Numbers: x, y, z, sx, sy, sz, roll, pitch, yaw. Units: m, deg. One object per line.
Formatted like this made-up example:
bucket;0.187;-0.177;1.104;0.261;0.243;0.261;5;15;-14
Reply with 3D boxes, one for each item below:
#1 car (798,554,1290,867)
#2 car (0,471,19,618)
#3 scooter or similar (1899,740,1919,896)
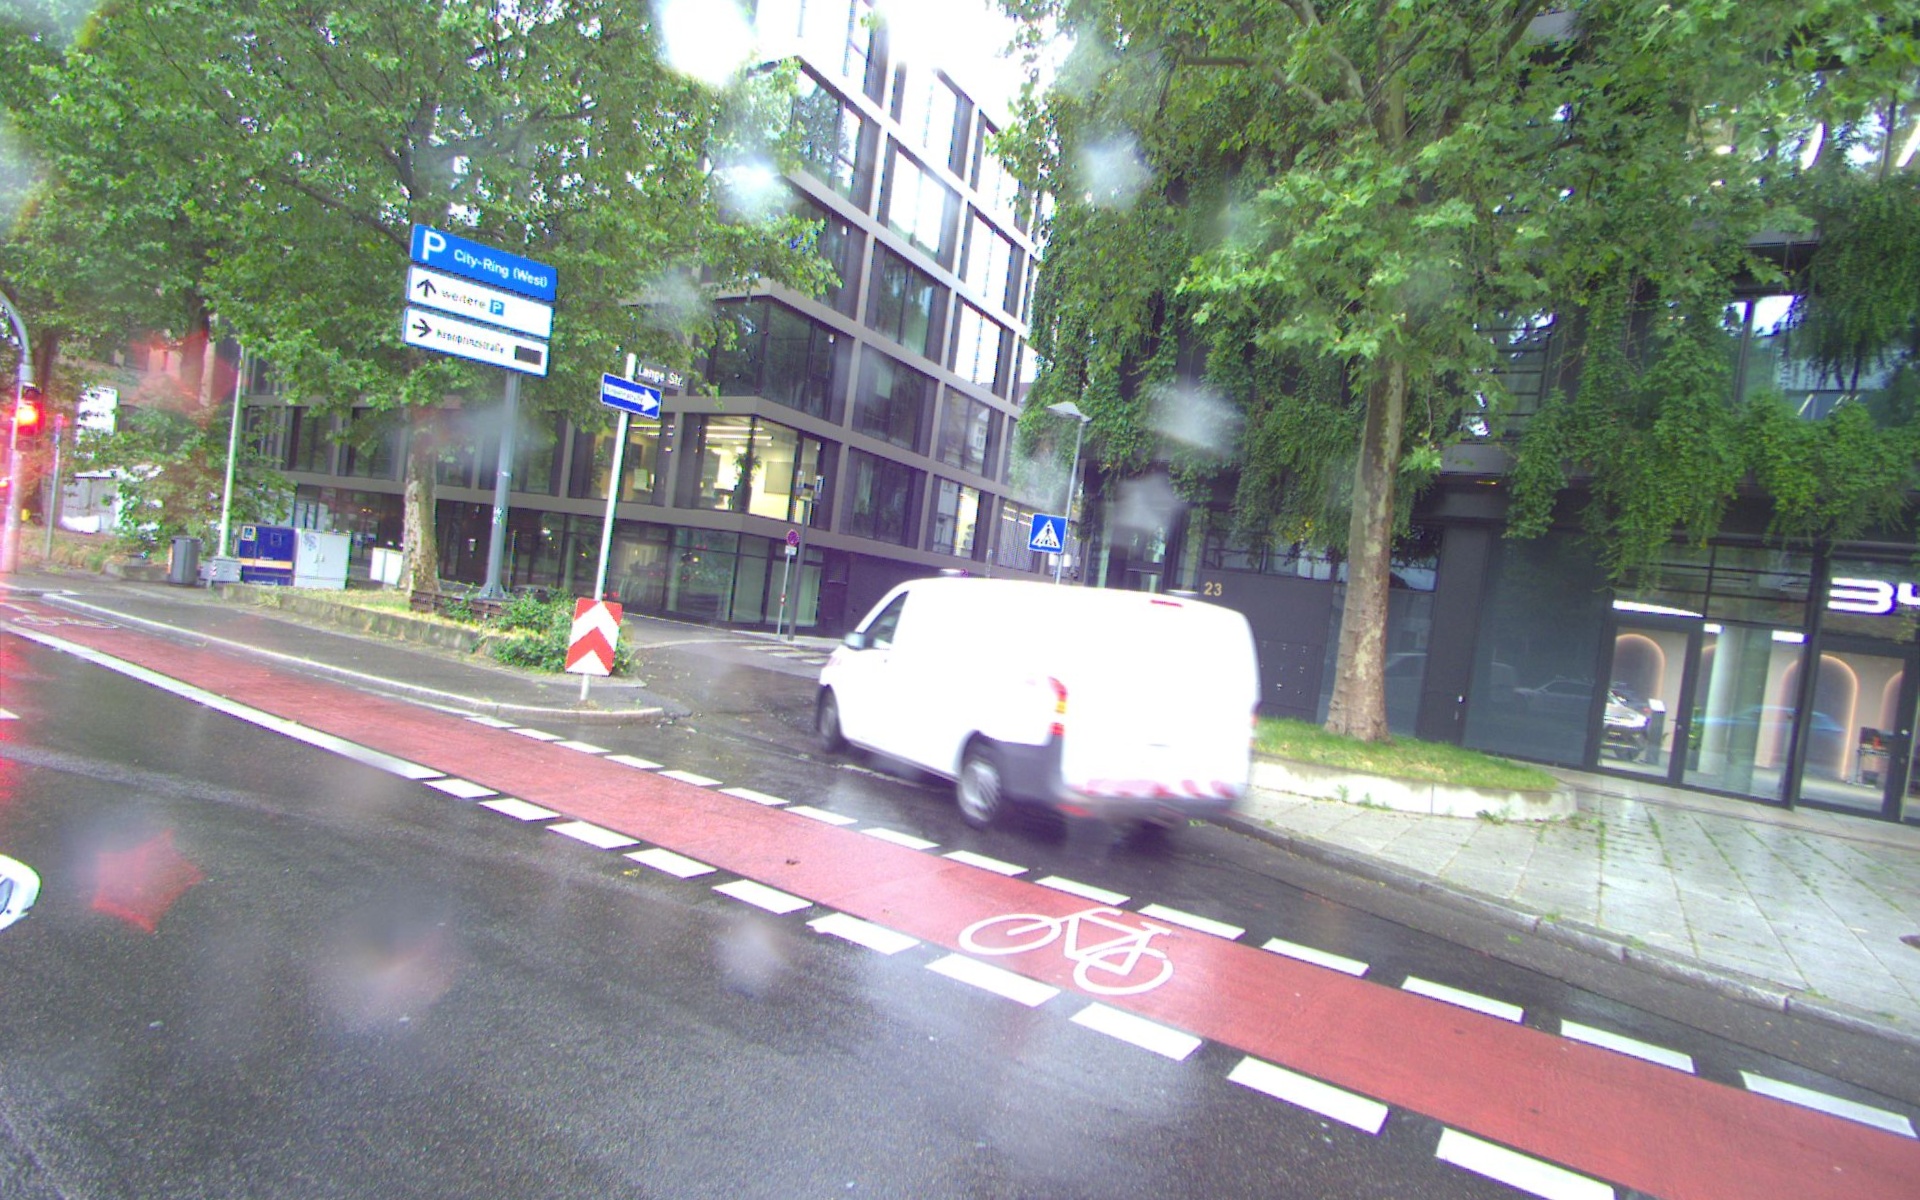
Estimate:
car;0.323;0.722;9.024;1.903;1.969;4.930;8;-1;-27
car;-12.161;-0.740;10.868;3.935;1.717;1.881;6;-2;33
scooter or similar;8.489;1.876;8.106;0.528;1.297;1.184;7;-1;-8
